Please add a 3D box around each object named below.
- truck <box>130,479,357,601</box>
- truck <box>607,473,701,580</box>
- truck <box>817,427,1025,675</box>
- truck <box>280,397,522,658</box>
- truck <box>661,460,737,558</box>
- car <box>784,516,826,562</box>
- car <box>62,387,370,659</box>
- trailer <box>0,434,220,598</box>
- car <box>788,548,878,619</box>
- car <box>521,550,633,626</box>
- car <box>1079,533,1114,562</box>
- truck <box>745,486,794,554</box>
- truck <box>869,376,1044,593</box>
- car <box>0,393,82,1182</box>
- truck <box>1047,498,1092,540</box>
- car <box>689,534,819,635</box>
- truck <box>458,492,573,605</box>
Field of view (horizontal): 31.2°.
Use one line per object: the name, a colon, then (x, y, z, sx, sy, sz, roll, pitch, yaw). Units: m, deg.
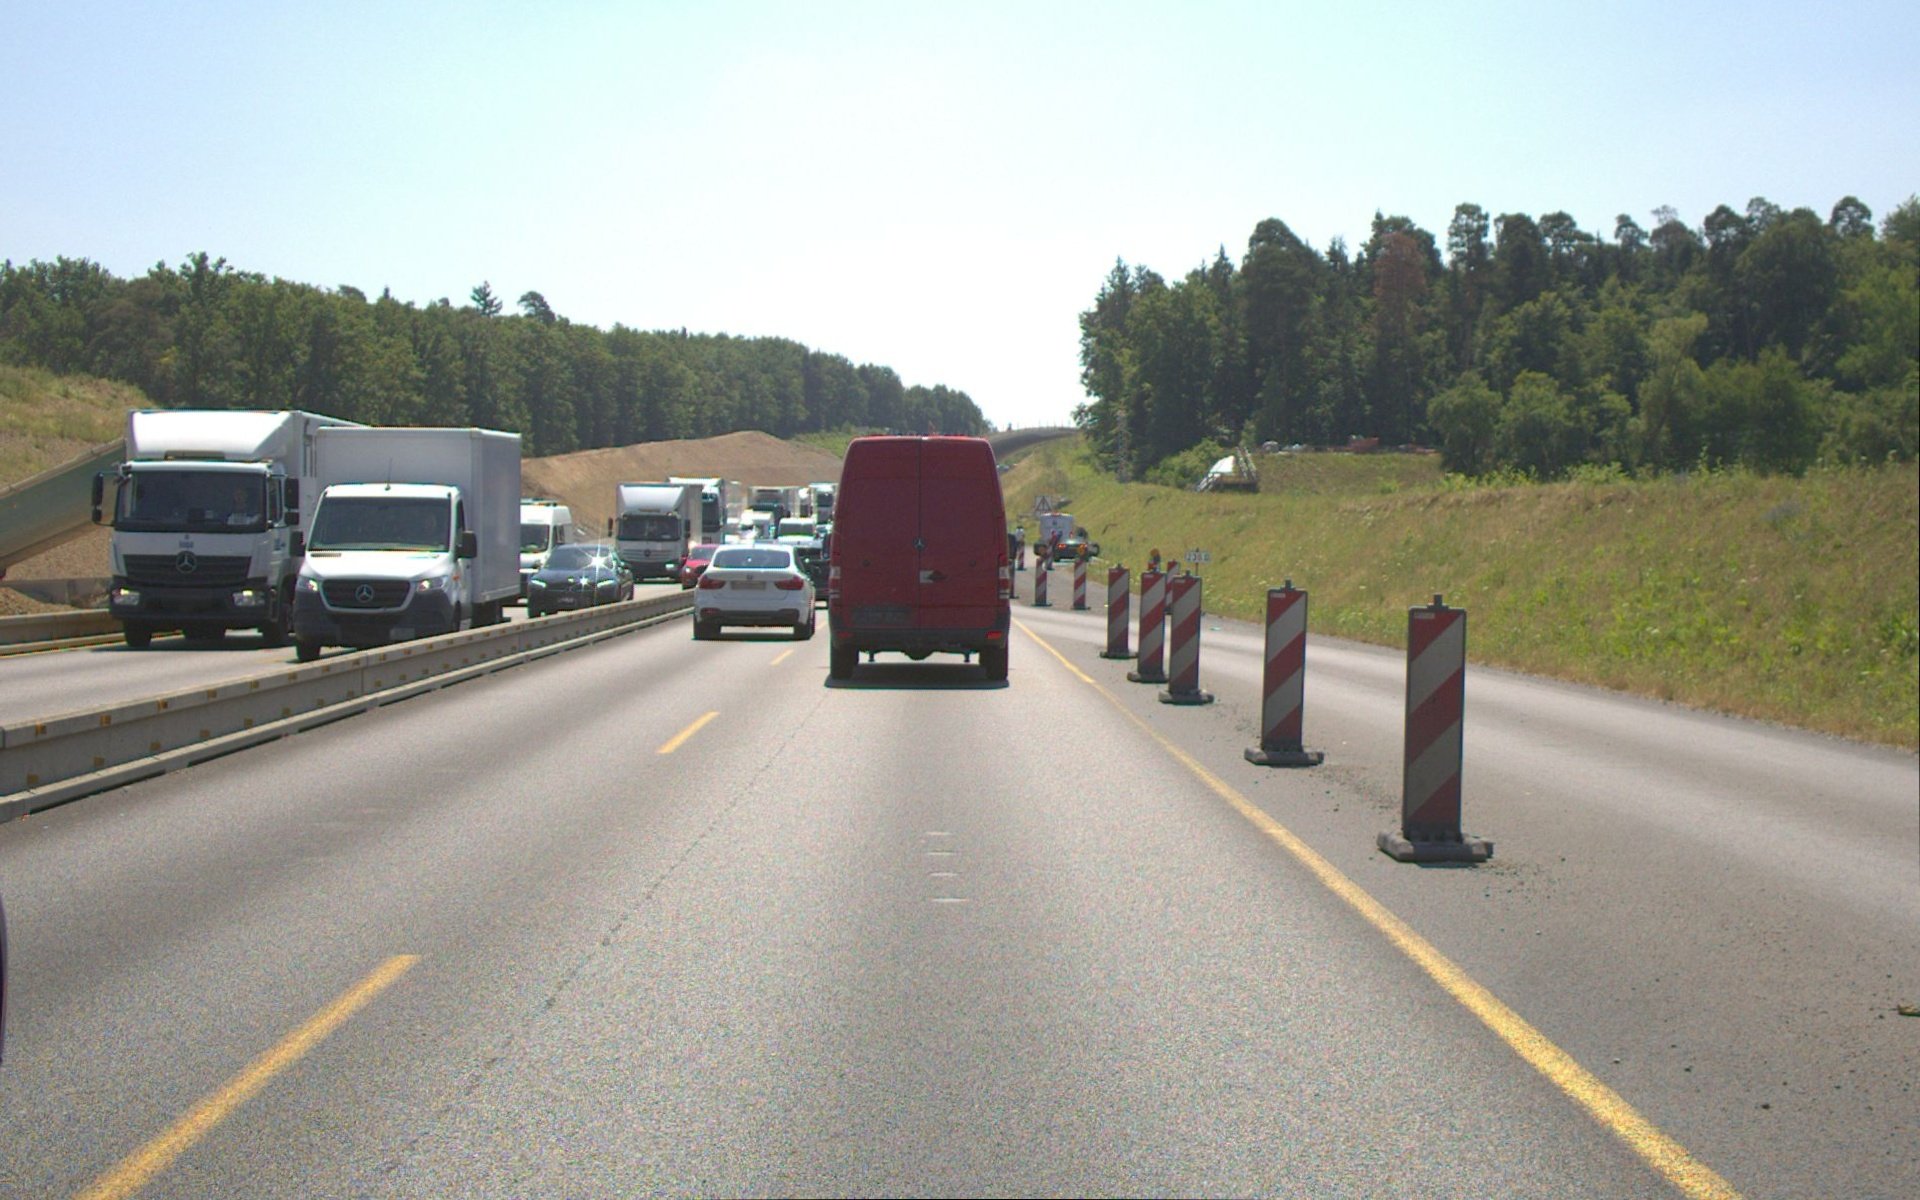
truck: (-18.319, -1.513, 88.044, 2.585, 2.954, 5.049, 1, 0, 45)
truck: (-11.104, -2.637, 125.569, 2.644, 3.703, 9.483, 1, 1, -1)
truck: (-0.439, -0.544, 38.850, 2.153, 2.581, 5.333, 1, 1, -1)
truck: (-7.253, -0.918, 45.422, 2.271, 3.139, 7.314, 1, 1, -3)
truck: (-11.012, -3.807, 145.243, 2.848, 4.004, 4.859, -1, 1, -1)
car: (-8.028, -3.170, 178.392, 1.993, 2.284, 5.344, 1, 2, -1)
car: (-11.002, -1.165, 51.679, 2.908, 3.727, 8.091, 1, 1, -1)
trailer: (-23.297, -2.166, 88.536, 8.355, 4.084, 2.796, 1, 1, 27)
car: (-2.947, -0.413, 80.678, 1.967, 1.536, 4.311, 1, 2, 0)
car: (-7.731, -0.257, 69.730, 1.788, 1.477, 4.561, 1, 1, 0)
car: (7.395, -2.848, 186.638, 1.654, 1.422, 4.545, -2, 2, 0)
truck: (-12.013, -5.036, 217.568, 2.491, 4.184, 5.911, -1, 1, 2)
truck: (-0.149, -3.043, 96.469, 4.400, 5.477, 16.604, 1, 1, 0)
car: (-3.066, 0.468, 6.213, 1.751, 1.818, 4.783, 1, 2, 0)
truck: (6.529, -4.835, 204.598, 2.130, 2.448, 5.924, 1, 2, 7)
car: (-3.227, -0.258, 54.488, 1.831, 1.517, 3.961, 1, 1, 0)
truck: (-10.908, -1.325, 84.795, 2.098, 2.560, 6.355, 1, 2, -1)
